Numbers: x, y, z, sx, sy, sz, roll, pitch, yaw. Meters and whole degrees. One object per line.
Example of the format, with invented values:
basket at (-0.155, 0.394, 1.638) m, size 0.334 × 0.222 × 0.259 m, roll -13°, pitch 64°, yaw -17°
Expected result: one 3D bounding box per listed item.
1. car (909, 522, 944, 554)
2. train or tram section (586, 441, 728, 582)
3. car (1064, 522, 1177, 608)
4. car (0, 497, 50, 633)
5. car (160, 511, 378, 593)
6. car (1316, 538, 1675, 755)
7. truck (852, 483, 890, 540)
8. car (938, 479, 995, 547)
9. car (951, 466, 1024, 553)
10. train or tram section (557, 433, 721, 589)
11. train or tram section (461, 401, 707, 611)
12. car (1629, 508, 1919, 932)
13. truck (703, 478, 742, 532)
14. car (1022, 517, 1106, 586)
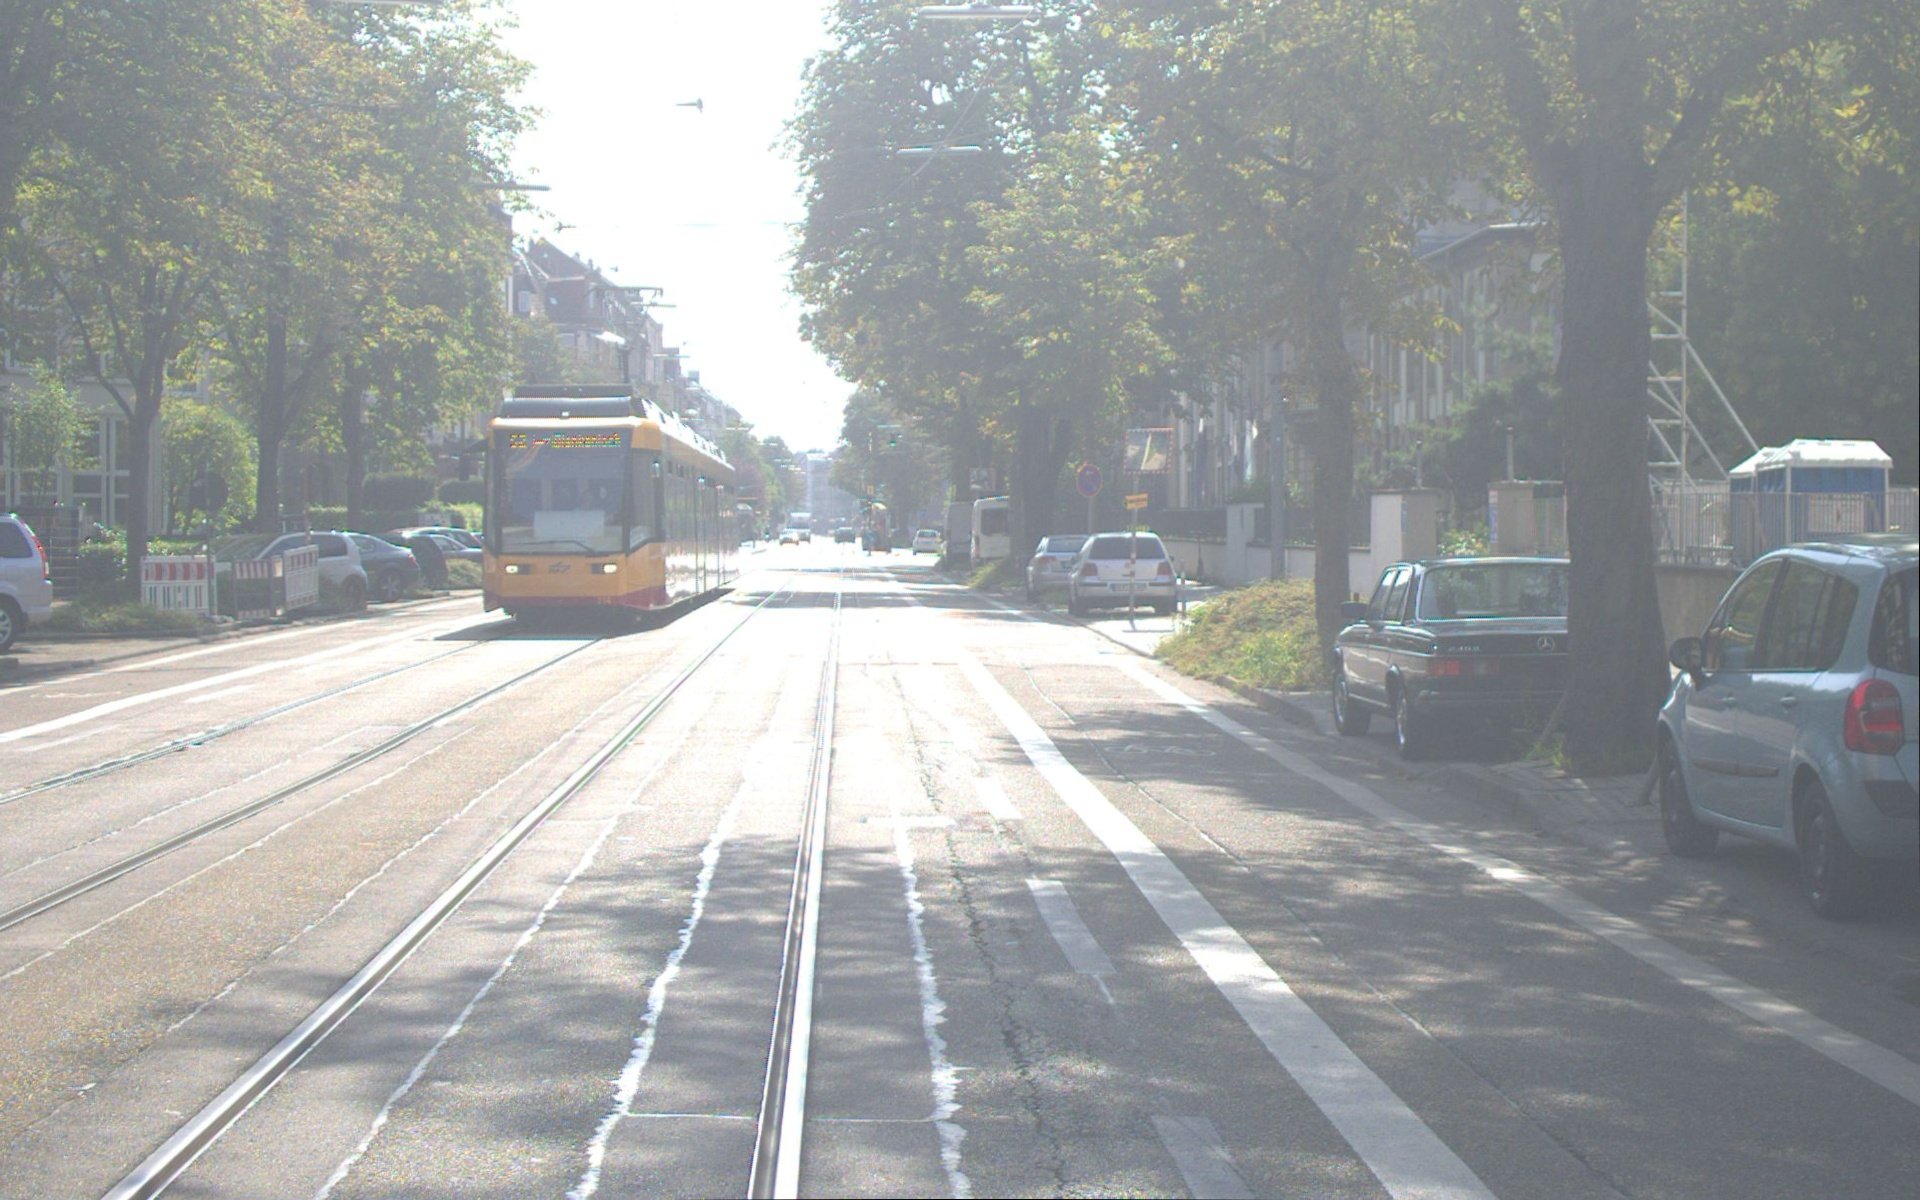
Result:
car at (-1.955, -3.615, 198.698) m, size 1.993 × 1.831 × 4.000 m, roll 0°, pitch 1°, yaw -1°
train or tram section at (-6.230, -1.823, 71.148) m, size 2.705 × 2.847 × 3.649 m, roll 0°, pitch 1°, yaw -2°
car at (2.709, -0.622, 58.615) m, size 1.689 × 1.413 × 3.635 m, roll 0°, pitch 1°, yaw -1°
car at (-12.909, -0.415, 40.679) m, size 1.743 × 1.616 × 3.786 m, roll 1°, pitch 2°, yaw 44°
car at (-12.469, -0.892, 62.173) m, size 1.569 × 1.438 × 3.755 m, roll 1°, pitch 2°, yaw 38°
car at (3.826, 0.268, 25.360) m, size 1.753 × 1.373 × 4.719 m, roll -2°, pitch 1°, yaw -2°
truck at (-4.908, -4.854, 188.995) m, size 1.860 × 3.120 × 4.353 m, roll 0°, pitch 1°, yaw -4°
car at (0.220, -3.234, 127.556) m, size 2.004 × 2.466 × 4.477 m, roll 0°, pitch 1°, yaw -1°
car at (0.777, -2.647, 100.457) m, size 2.004 × 2.482 × 4.477 m, roll 0°, pitch 1°, yaw -1°
train or tram section at (-6.080, -1.696, 66.028) m, size 2.728 × 2.839 × 6.544 m, roll 0°, pitch 1°, yaw -2°
train or tram section at (-5.741, -1.467, 55.021) m, size 2.728 × 2.884 × 15.457 m, roll 0°, pitch 1°, yaw -2°
car at (4.277, 0.420, 15.486) m, size 1.664 × 1.611 × 3.877 m, roll -1°, pitch 2°, yaw -1°
truck at (-13.020, -5.219, 188.890) m, size 1.993 × 2.965 × 4.571 m, roll 0°, pitch 1°, yaw -2°
car at (2.168, -1.033, 72.340) m, size 1.594 × 1.413 × 3.635 m, roll 0°, pitch 1°, yaw -1°
